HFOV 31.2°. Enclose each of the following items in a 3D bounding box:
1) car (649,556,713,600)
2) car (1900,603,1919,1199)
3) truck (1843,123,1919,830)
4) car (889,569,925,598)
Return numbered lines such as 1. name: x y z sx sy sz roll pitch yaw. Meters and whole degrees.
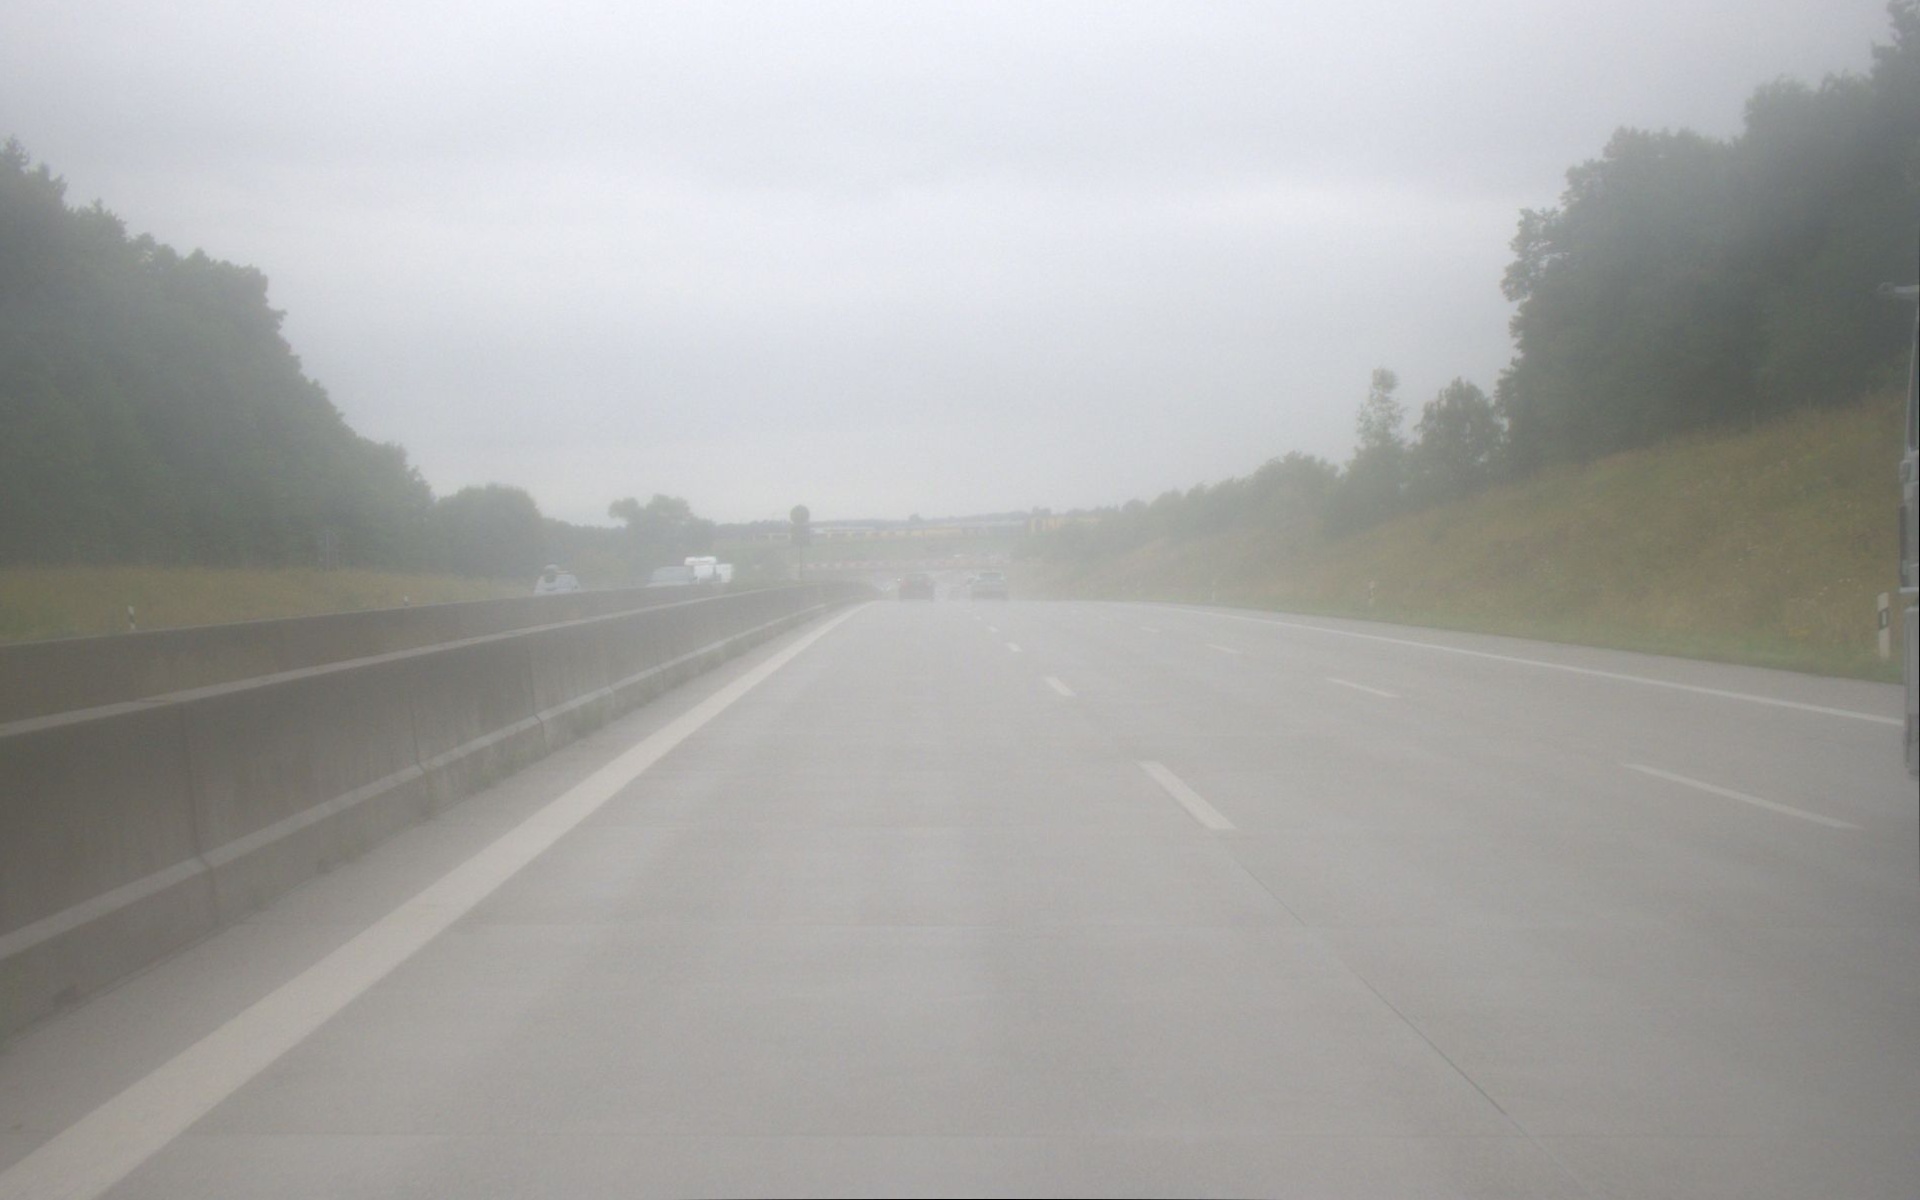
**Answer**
1. car: -10.582 -0.845 130.626 1.968 1.604 4.852 -2 1 0
2. car: 2.930 0.725 5.085 1.729 1.454 4.672 -1 0 -1
3. truck: 6.670 -0.661 17.896 2.636 3.940 5.686 0 1 0
4. car: -2.620 -0.831 170.411 1.729 1.326 4.430 0 1 -1
